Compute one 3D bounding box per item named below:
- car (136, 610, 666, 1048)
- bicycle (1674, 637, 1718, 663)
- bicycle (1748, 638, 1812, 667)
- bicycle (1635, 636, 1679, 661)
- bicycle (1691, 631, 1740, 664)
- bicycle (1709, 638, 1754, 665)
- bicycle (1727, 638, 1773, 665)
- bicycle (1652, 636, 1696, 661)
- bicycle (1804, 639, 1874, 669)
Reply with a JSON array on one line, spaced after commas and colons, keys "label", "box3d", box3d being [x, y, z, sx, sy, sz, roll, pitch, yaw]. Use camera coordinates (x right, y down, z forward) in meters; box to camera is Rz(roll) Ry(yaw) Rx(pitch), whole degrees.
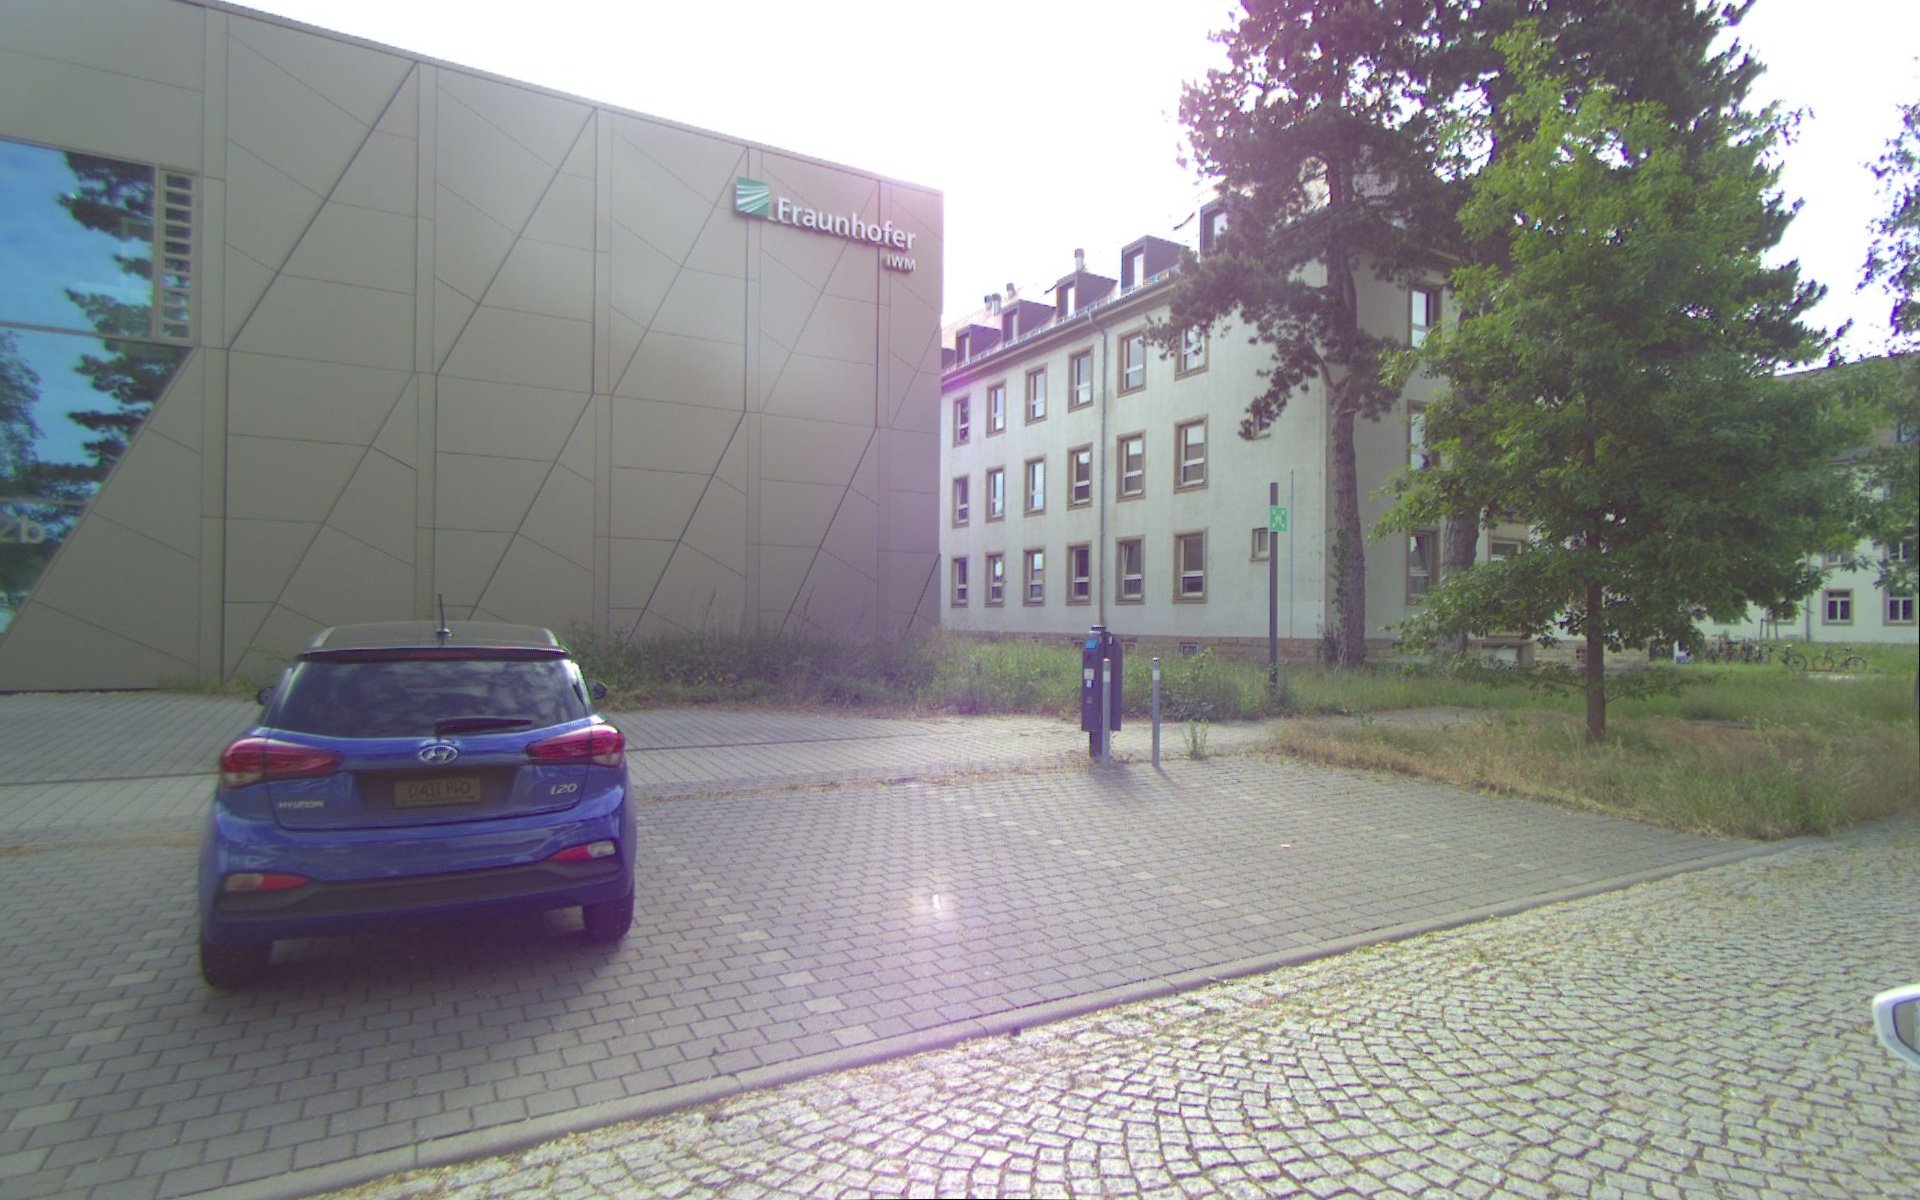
[{"label": "car", "box3d": [-2.955, 0.856, 5.692, 1.828, 1.497, 3.752, 1, 0, -27]}, {"label": "bicycle", "box3d": [32.417, 2.182, 44.229, 2.246, 1.090, 0.732, 1, -1, -30]}, {"label": "bicycle", "box3d": [32.799, 2.096, 40.202, 0.729, 1.090, 1.849, 1, -1, -27]}, {"label": "bicycle", "box3d": [31.394, 2.163, 45.221, 2.246, 1.090, 0.732, 1, -1, -30]}, {"label": "bicycle", "box3d": [32.712, 2.036, 43.477, 2.679, 1.404, 0.732, 1, -1, -30]}, {"label": "bicycle", "box3d": [32.767, 2.168, 42.647, 2.246, 1.090, 0.732, 1, -1, -30]}, {"label": "bicycle", "box3d": [33.145, 2.154, 42.128, 2.246, 1.090, 0.732, 1, -1, -30]}, {"label": "bicycle", "box3d": [31.686, 2.154, 44.545, 2.246, 1.090, 0.732, 1, -1, -30]}, {"label": "bicycle", "box3d": [33.743, 2.048, 38.575, 0.821, 1.090, 1.849, 1, -1, -27]}]
